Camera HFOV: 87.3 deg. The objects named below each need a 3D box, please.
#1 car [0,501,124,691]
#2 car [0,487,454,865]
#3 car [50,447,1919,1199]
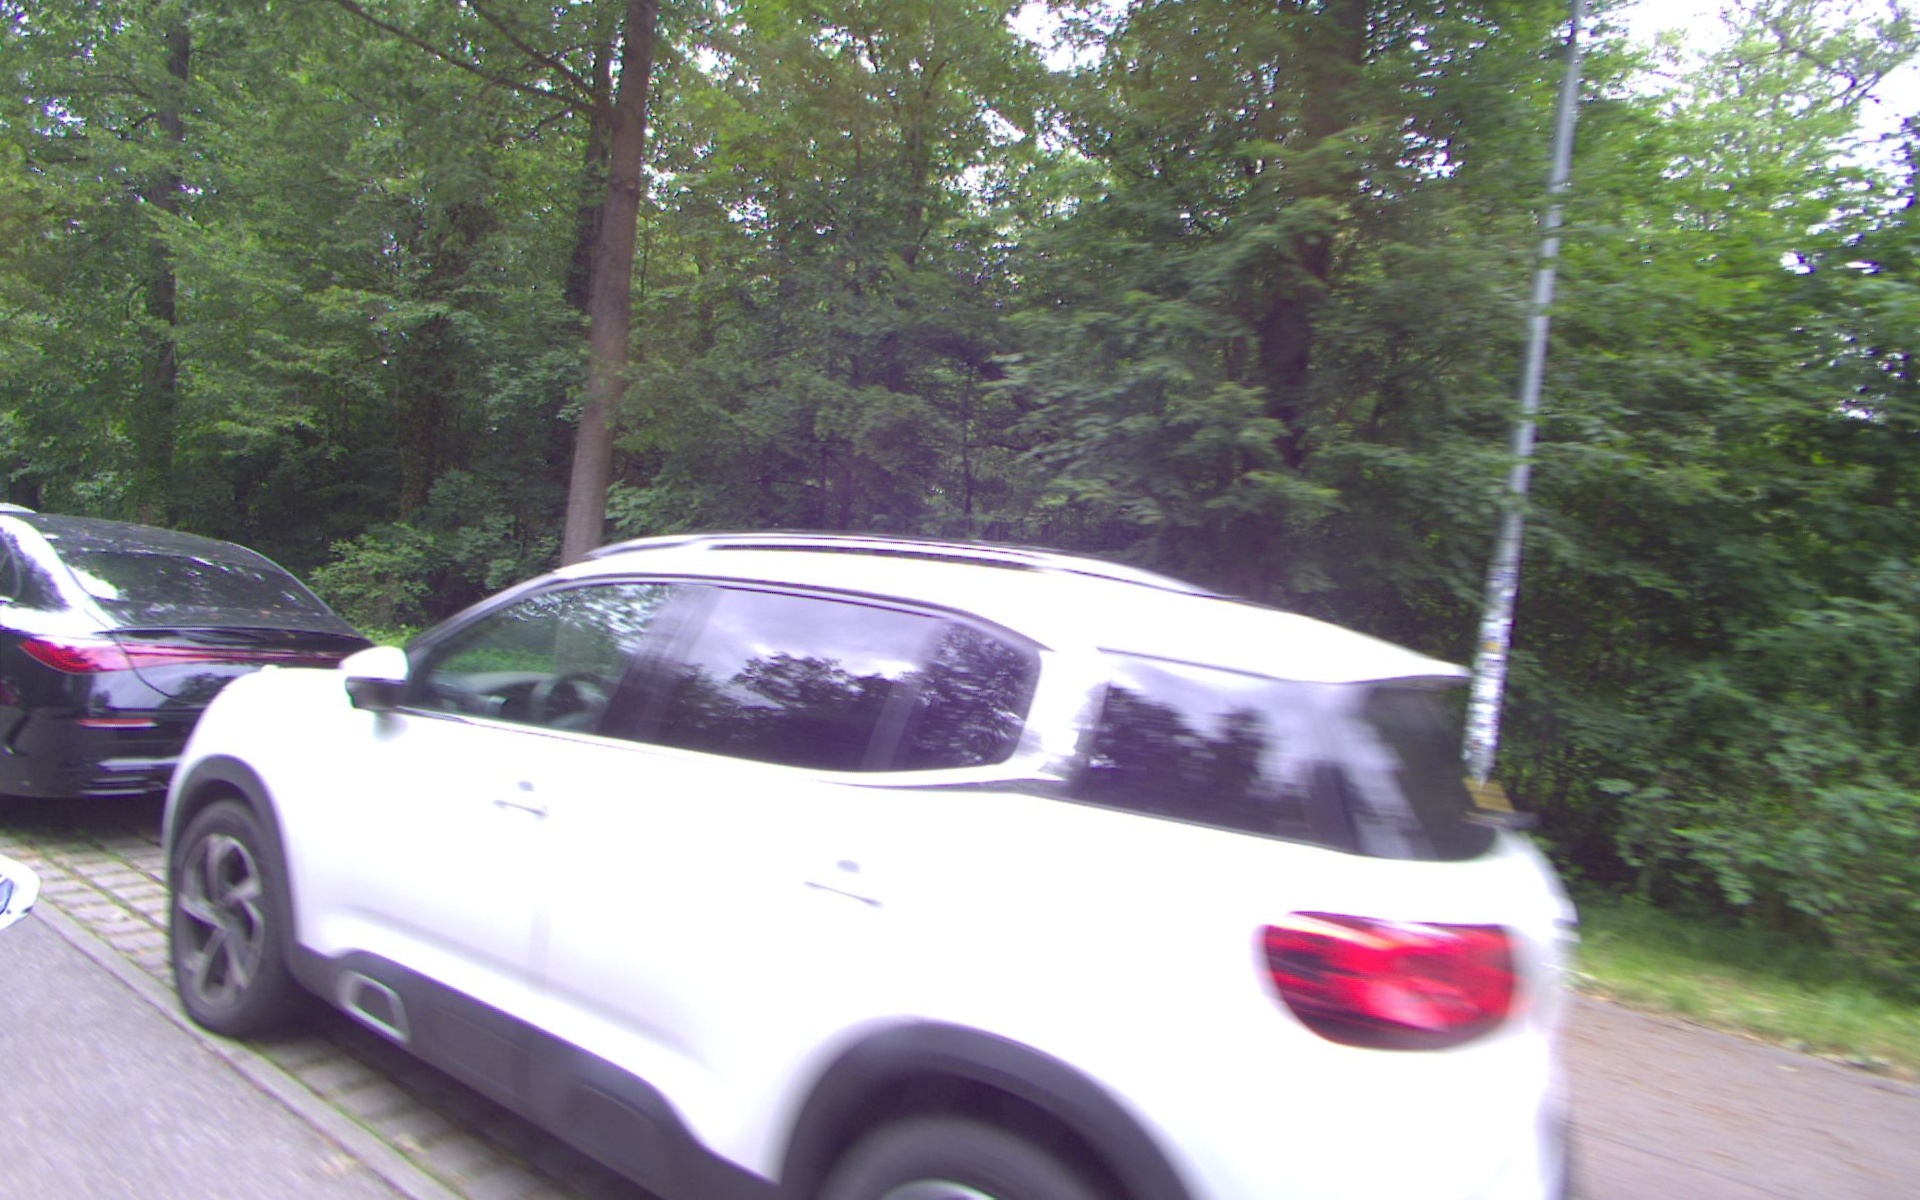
[{"bbox_3d":[-9.231,-0.265,8.584,4.083,1.441,1.741,7,-2,29],"label":"car"},{"bbox_3d":[-5.235,0.164,5.899,4.527,1.491,1.740,7,-2,30],"label":"car"},{"bbox_3d":[-0.511,0.634,2.901,4.988,1.662,1.739,7,-2,32],"label":"car"}]
